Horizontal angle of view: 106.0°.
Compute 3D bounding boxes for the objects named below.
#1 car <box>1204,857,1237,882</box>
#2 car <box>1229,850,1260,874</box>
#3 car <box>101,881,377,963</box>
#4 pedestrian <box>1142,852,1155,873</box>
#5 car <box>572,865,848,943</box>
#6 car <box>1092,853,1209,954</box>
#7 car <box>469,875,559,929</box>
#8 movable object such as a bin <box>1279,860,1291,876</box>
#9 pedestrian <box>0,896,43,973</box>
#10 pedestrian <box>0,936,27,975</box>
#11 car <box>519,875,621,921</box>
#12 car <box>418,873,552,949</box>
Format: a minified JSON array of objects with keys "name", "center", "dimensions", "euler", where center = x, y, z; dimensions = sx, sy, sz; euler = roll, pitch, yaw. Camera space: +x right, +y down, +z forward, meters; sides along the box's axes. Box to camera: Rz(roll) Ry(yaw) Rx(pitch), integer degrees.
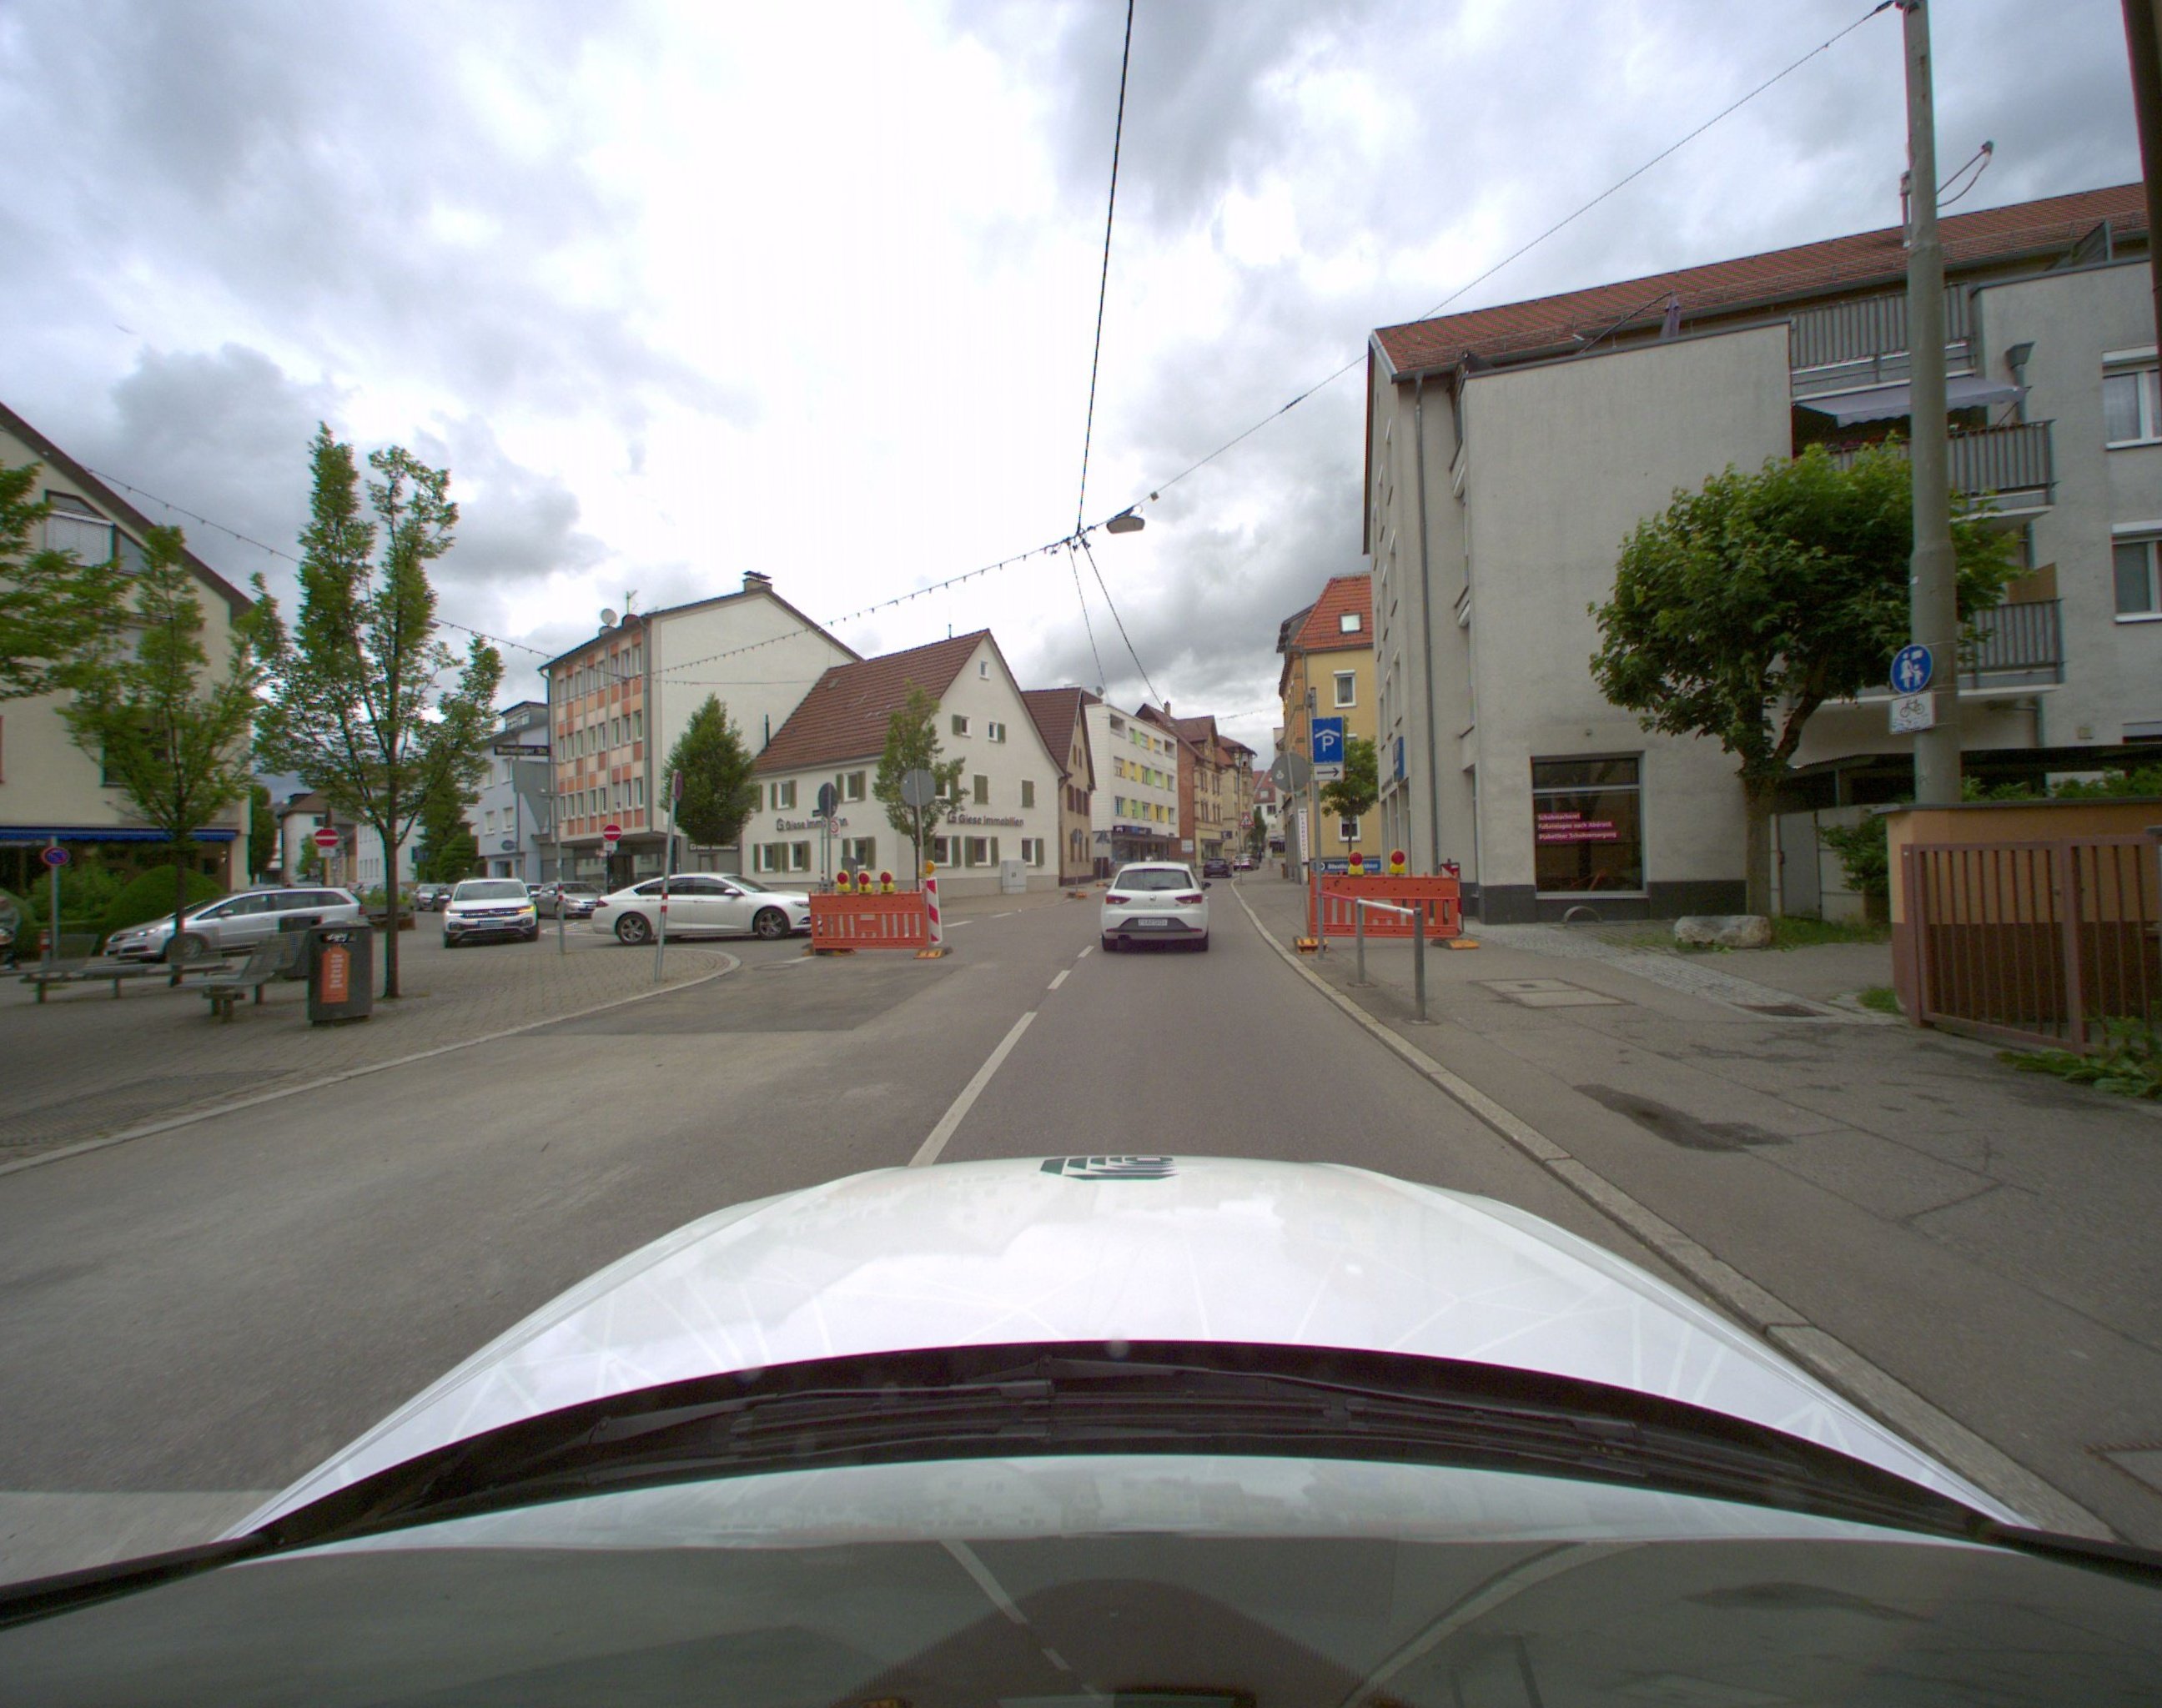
[{"name":"car","center":[9.653,1.050,56.171],"dimensions":[1.798,1.480,3.887],"euler":[-2,1,15]},{"name":"car","center":[14.580,0.649,72.379],"dimensions":[1.976,2.013,4.021],"euler":[-2,0,21]},{"name":"car","center":[-20.818,1.602,20.379],"dimensions":[1.975,1.640,4.353],"euler":[-3,0,25]},{"name":"pedestrian","center":[5.313,0.658,63.969],"dimensions":[0.887,1.665,0.863],"euler":[-2,-1,8]},{"name":"car","center":[-7.816,1.025,17.597],"dimensions":[4.888,1.477,2.248],"euler":[-1,0,-1]},{"name":"car","center":[1.359,0.756,14.481],"dimensions":[1.801,1.480,3.880],"euler":[0,1,8]},{"name":"car","center":[-19.145,1.537,27.404],"dimensions":[2.032,1.557,4.860],"euler":[-1,0,-40]},{"name":"movable object such as a bin","center":[12.144,0.859,48.495],"dimensions":[0.615,0.921,0.584],"euler":[-2,0,15]},{"name":"pedestrian","center":[-23.988,1.792,18.169],"dimensions":[0.774,1.669,0.944],"euler":[-2,-1,-36]},{"name":"pedestrian","center":[-23.376,2.212,17.668],"dimensions":[0.448,0.799,0.578],"euler":[-3,-1,40]},{"name":"car","center":[-19.892,1.648,31.616],"dimensions":[4.856,1.557,2.034],"euler":[-1,0,41]},{"name":"car","center":[-14.849,1.290,20.161],"dimensions":[2.033,1.557,4.858],"euler":[-1,0,-44]}]
